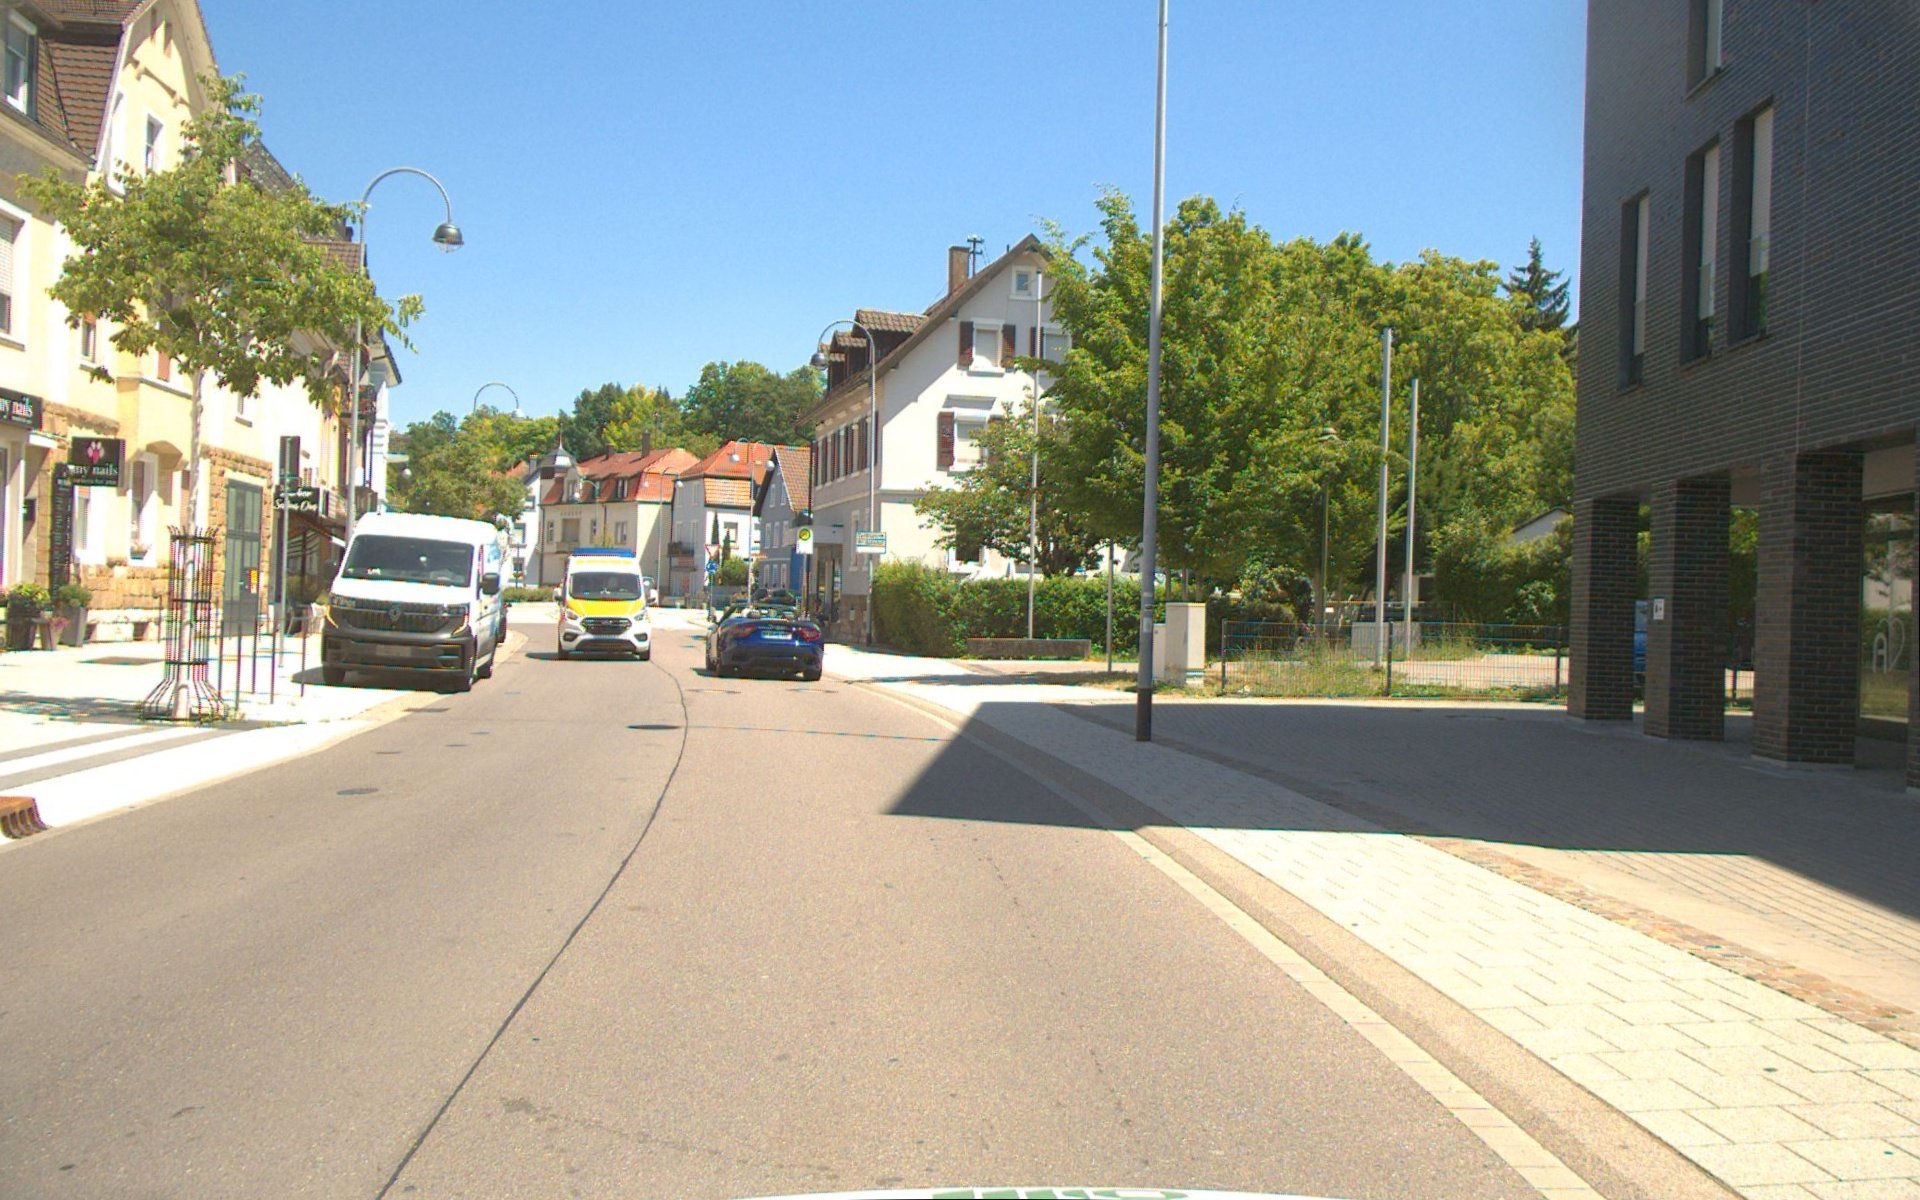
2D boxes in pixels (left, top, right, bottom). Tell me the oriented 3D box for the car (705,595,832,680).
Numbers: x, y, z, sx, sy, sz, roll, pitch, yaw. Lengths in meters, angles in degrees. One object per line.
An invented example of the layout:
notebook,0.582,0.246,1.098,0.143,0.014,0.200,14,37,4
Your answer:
car,-3.621,0.647,30.670,1.877,1.384,4.272,3,0,-12

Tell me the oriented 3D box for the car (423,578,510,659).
car,-10.246,0.382,34.490,1.534,1.547,3.502,3,-1,-15

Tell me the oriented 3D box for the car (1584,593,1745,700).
car,10.924,0.657,25.909,1.773,1.466,4.176,1,1,16

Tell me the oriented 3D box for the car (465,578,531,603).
car,-25.540,-0.533,91.292,1.982,1.353,4.139,0,0,-41

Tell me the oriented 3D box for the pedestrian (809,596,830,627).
pedestrian,-4.725,0.389,55.516,0.580,1.017,0.721,0,0,-15

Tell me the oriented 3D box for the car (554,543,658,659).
car,-7.992,0.010,37.288,2.119,2.403,5.231,0,0,-12

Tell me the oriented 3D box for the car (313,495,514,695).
car,-8.006,-0.072,24.750,2.055,2.541,5.488,3,0,-11

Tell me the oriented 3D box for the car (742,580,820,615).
car,-9.740,-0.139,90.159,3.903,1.780,1.920,2,0,4

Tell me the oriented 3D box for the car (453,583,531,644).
car,-13.037,0.341,46.273,1.883,1.507,4.321,4,-1,-14
